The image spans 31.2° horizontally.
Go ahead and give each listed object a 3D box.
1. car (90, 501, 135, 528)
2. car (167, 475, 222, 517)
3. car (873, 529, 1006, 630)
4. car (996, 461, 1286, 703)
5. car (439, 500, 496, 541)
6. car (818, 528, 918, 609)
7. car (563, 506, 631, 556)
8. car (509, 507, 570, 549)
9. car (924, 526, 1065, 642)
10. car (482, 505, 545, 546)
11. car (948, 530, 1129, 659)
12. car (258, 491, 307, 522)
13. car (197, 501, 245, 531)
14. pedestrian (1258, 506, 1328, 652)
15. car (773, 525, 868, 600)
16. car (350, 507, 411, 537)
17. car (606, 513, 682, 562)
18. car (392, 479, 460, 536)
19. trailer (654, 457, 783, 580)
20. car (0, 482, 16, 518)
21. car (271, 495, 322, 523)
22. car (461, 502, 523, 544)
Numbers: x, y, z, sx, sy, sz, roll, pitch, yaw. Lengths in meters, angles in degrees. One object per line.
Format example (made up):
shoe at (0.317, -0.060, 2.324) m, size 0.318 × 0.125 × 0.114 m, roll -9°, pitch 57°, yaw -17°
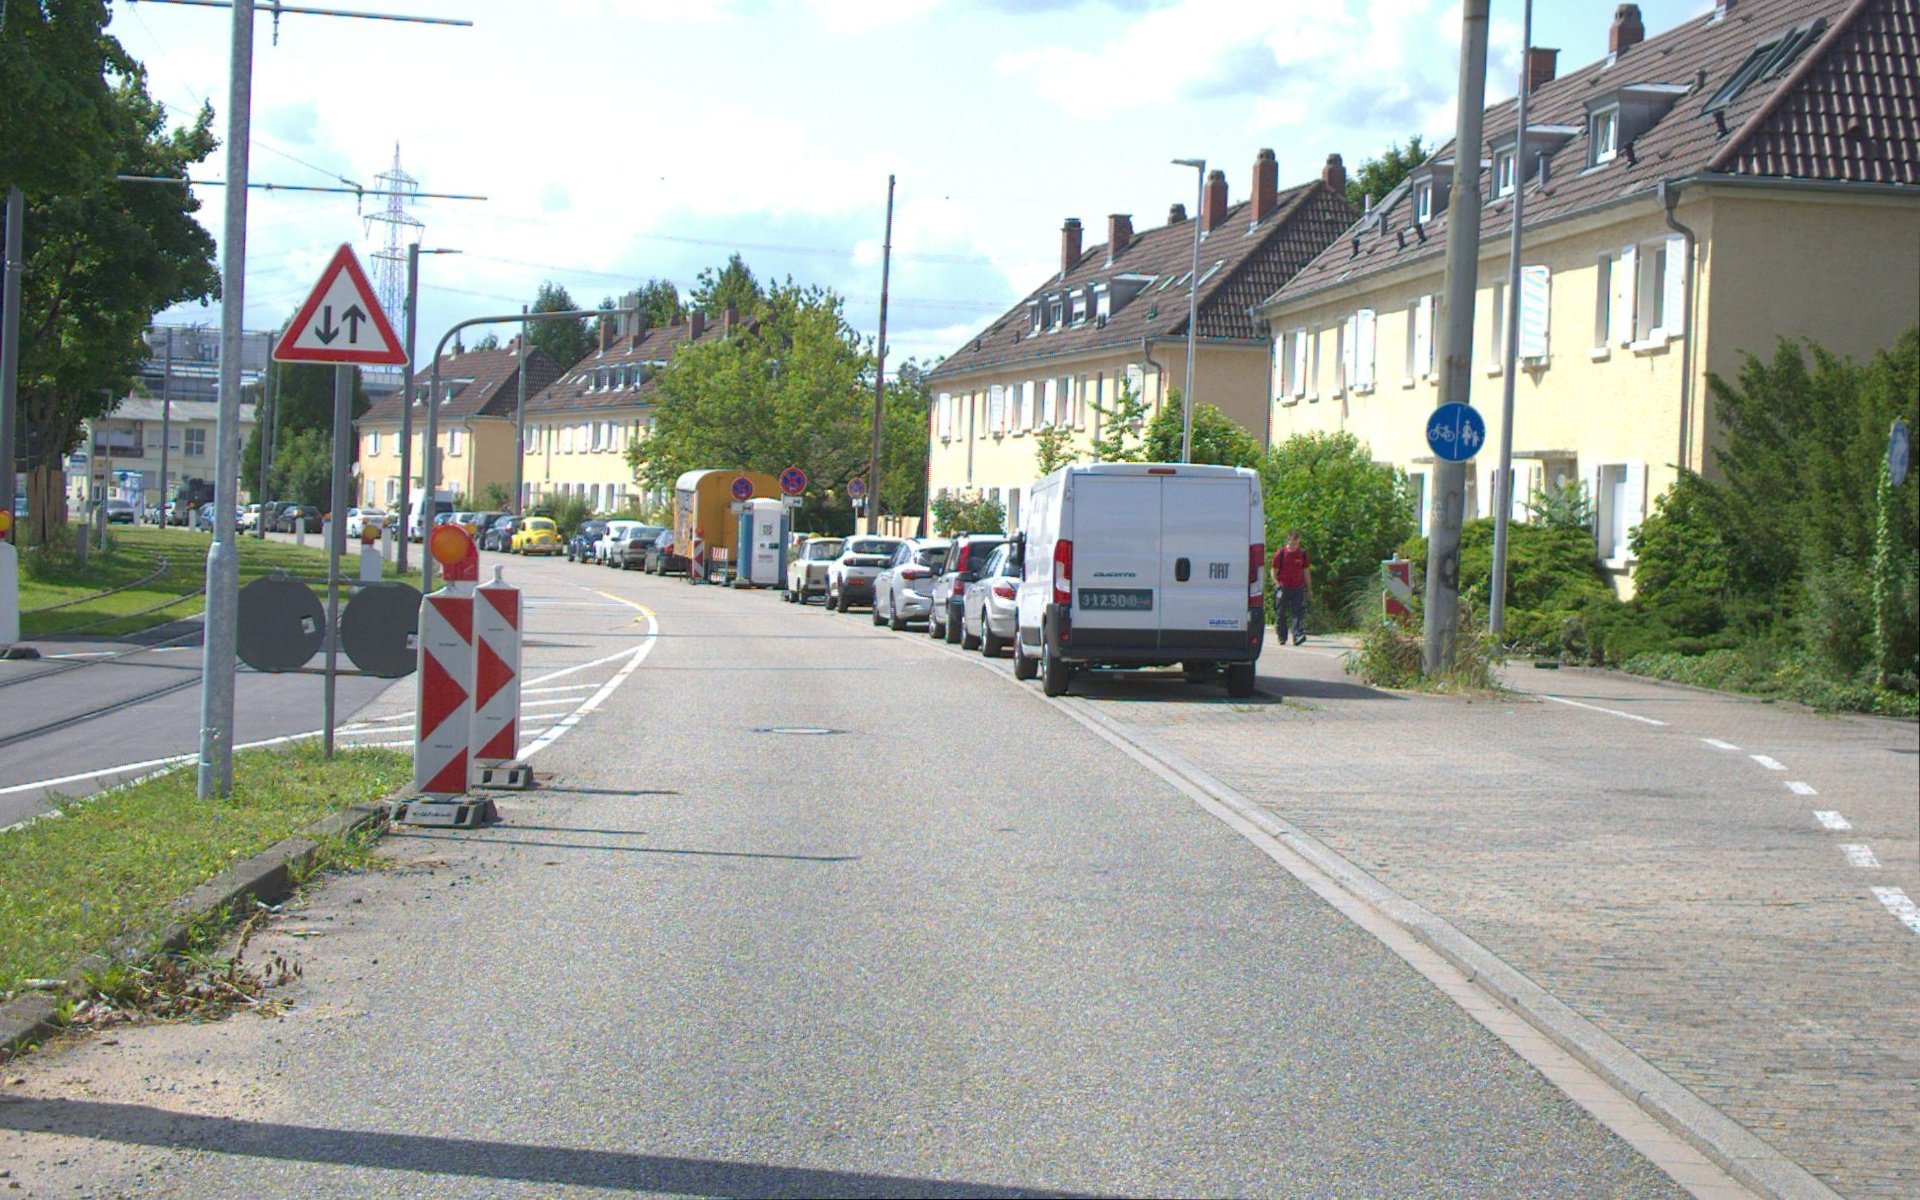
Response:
car at (-48.397, -4.883, 196.302) m, size 1.724 × 1.384 × 4.123 m, roll 2°, pitch 1°, yaw -24°
car at (-45.952, -6.258, 206.337) m, size 1.959 × 2.470 × 6.062 m, roll 0°, pitch 2°, yaw -25°
car at (-0.368, -0.358, 54.981) m, size 1.749 × 1.492 × 4.386 m, roll 1°, pitch 1°, yaw -5°
car at (1.717, -0.246, 35.155) m, size 2.276 × 2.175 × 6.369 m, roll 2°, pitch 1°, yaw -3°
car at (-20.983, -3.403, 146.369) m, size 1.635 × 1.597 × 4.031 m, roll 2°, pitch 1°, yaw -19°
car at (-1.820, -0.635, 66.923) m, size 1.527 × 1.476 × 3.810 m, roll 1°, pitch 1°, yaw -7°
car at (-12.746, -2.428, 120.565) m, size 1.548 × 1.635 × 4.248 m, roll 2°, pitch 1°, yaw -17°
car at (-16.221, -2.790, 132.538) m, size 1.636 × 1.477 × 3.933 m, roll -1°, pitch 3°, yaw -17°
car at (0.452, -0.258, 49.310) m, size 1.628 × 1.544 × 3.810 m, roll 1°, pitch 1°, yaw -5°
car at (-17.879, -2.986, 137.458) m, size 1.635 × 1.477 × 4.126 m, roll 2°, pitch 1°, yaw -19°
car at (0.960, -0.104, 44.228) m, size 1.707 × 1.499 × 4.256 m, roll 2°, pitch 1°, yaw -7°
car at (-36.640, -5.069, 185.954) m, size 1.763 × 1.637 × 4.001 m, roll 0°, pitch 2°, yaw -24°
car at (-36.941, -4.220, 171.826) m, size 1.665 × 1.444 × 3.961 m, roll -1°, pitch 2°, yaw -23°
pedestrian at (4.691, -0.305, 48.491) m, size 0.772 × 2.007 × 0.762 m, roll 2°, pitch 1°, yaw -5°
car at (-3.000, -0.820, 73.262) m, size 1.463 × 1.497 × 4.111 m, roll 1°, pitch 1°, yaw -10°
car at (-28.417, -3.841, 168.450) m, size 1.798 × 1.453 × 4.766 m, roll 0°, pitch 2°, yaw -24°
car at (-10.192, -2.031, 110.656) m, size 1.706 × 1.444 × 4.837 m, roll 2°, pitch 1°, yaw -14°
car at (-24.253, -4.230, 156.103) m, size 1.929 × 2.472 × 5.519 m, roll 1°, pitch 2°, yaw -20°
trailer at (-6.688, -2.264, 94.769) m, size 2.689 × 3.215 × 5.084 m, roll 2°, pitch 1°, yaw -13°
car at (-44.034, -4.563, 155.849) m, size 1.810 × 1.581 × 4.569 m, roll 0°, pitch 2°, yaw -23°
car at (-34.994, -4.791, 181.242) m, size 1.763 × 1.412 × 4.001 m, roll 0°, pitch 2°, yaw -24°
car at (-19.451, -3.218, 142.771) m, size 1.635 × 1.597 × 3.933 m, roll 2°, pitch 1°, yaw -21°
